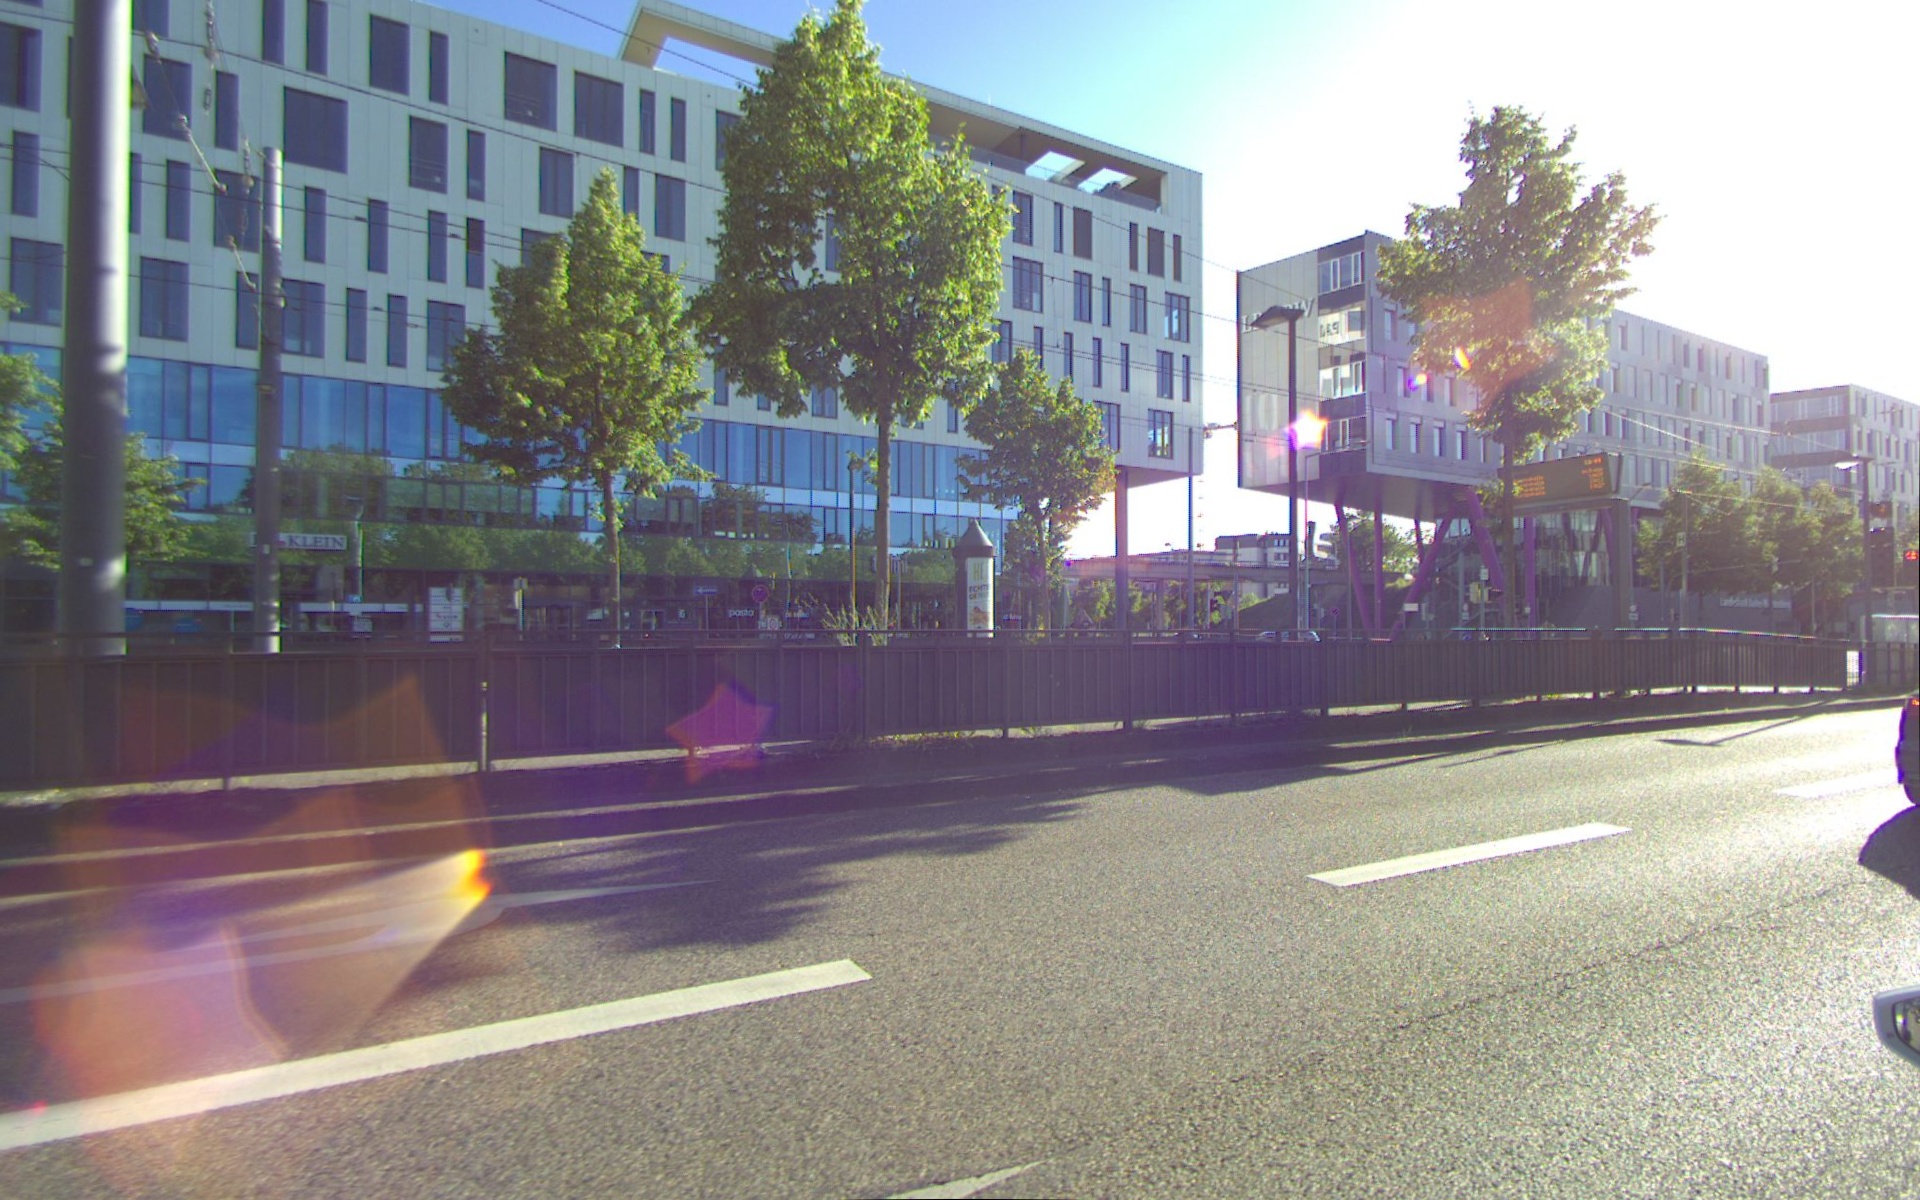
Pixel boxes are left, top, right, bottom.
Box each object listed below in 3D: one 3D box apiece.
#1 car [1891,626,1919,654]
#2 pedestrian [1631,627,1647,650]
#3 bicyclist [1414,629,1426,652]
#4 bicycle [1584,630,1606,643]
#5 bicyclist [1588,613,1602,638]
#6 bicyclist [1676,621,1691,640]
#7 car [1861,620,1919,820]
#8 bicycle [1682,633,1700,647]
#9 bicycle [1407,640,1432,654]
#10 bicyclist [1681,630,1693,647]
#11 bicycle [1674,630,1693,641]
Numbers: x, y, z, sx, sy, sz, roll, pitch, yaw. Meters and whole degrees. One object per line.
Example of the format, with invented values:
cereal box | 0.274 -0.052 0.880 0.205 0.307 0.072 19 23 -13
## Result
car | 56.382 2.312 58.506 4.817 1.582 1.983 1 -2 -32
pedestrian | 54.684 3.096 80.874 0.861 1.846 0.717 1 -2 -30
bicyclist | 29.539 2.583 64.492 0.545 1.441 0.480 0 -1 -25
bicycle | 46.445 2.663 73.454 1.812 0.874 0.525 1 -2 -29
bicyclist | 46.498 1.866 73.503 0.827 1.749 0.527 0 -1 -29
bicyclist | 57.251 2.399 79.464 0.947 1.454 0.568 0 -1 -29
car | 9.271 0.916 7.958 4.633 1.446 1.804 1 0 -30
bicycle | 63.145 3.488 86.790 1.952 1.188 0.517 1 -2 -31
bicycle | 29.480 2.985 64.459 1.669 0.874 0.480 0 -1 -26
bicyclist | 62.998 3.337 87.061 0.754 1.515 0.556 1 -2 -30
bicycle | 57.213 2.818 79.435 1.671 0.874 0.573 1 -2 -29
